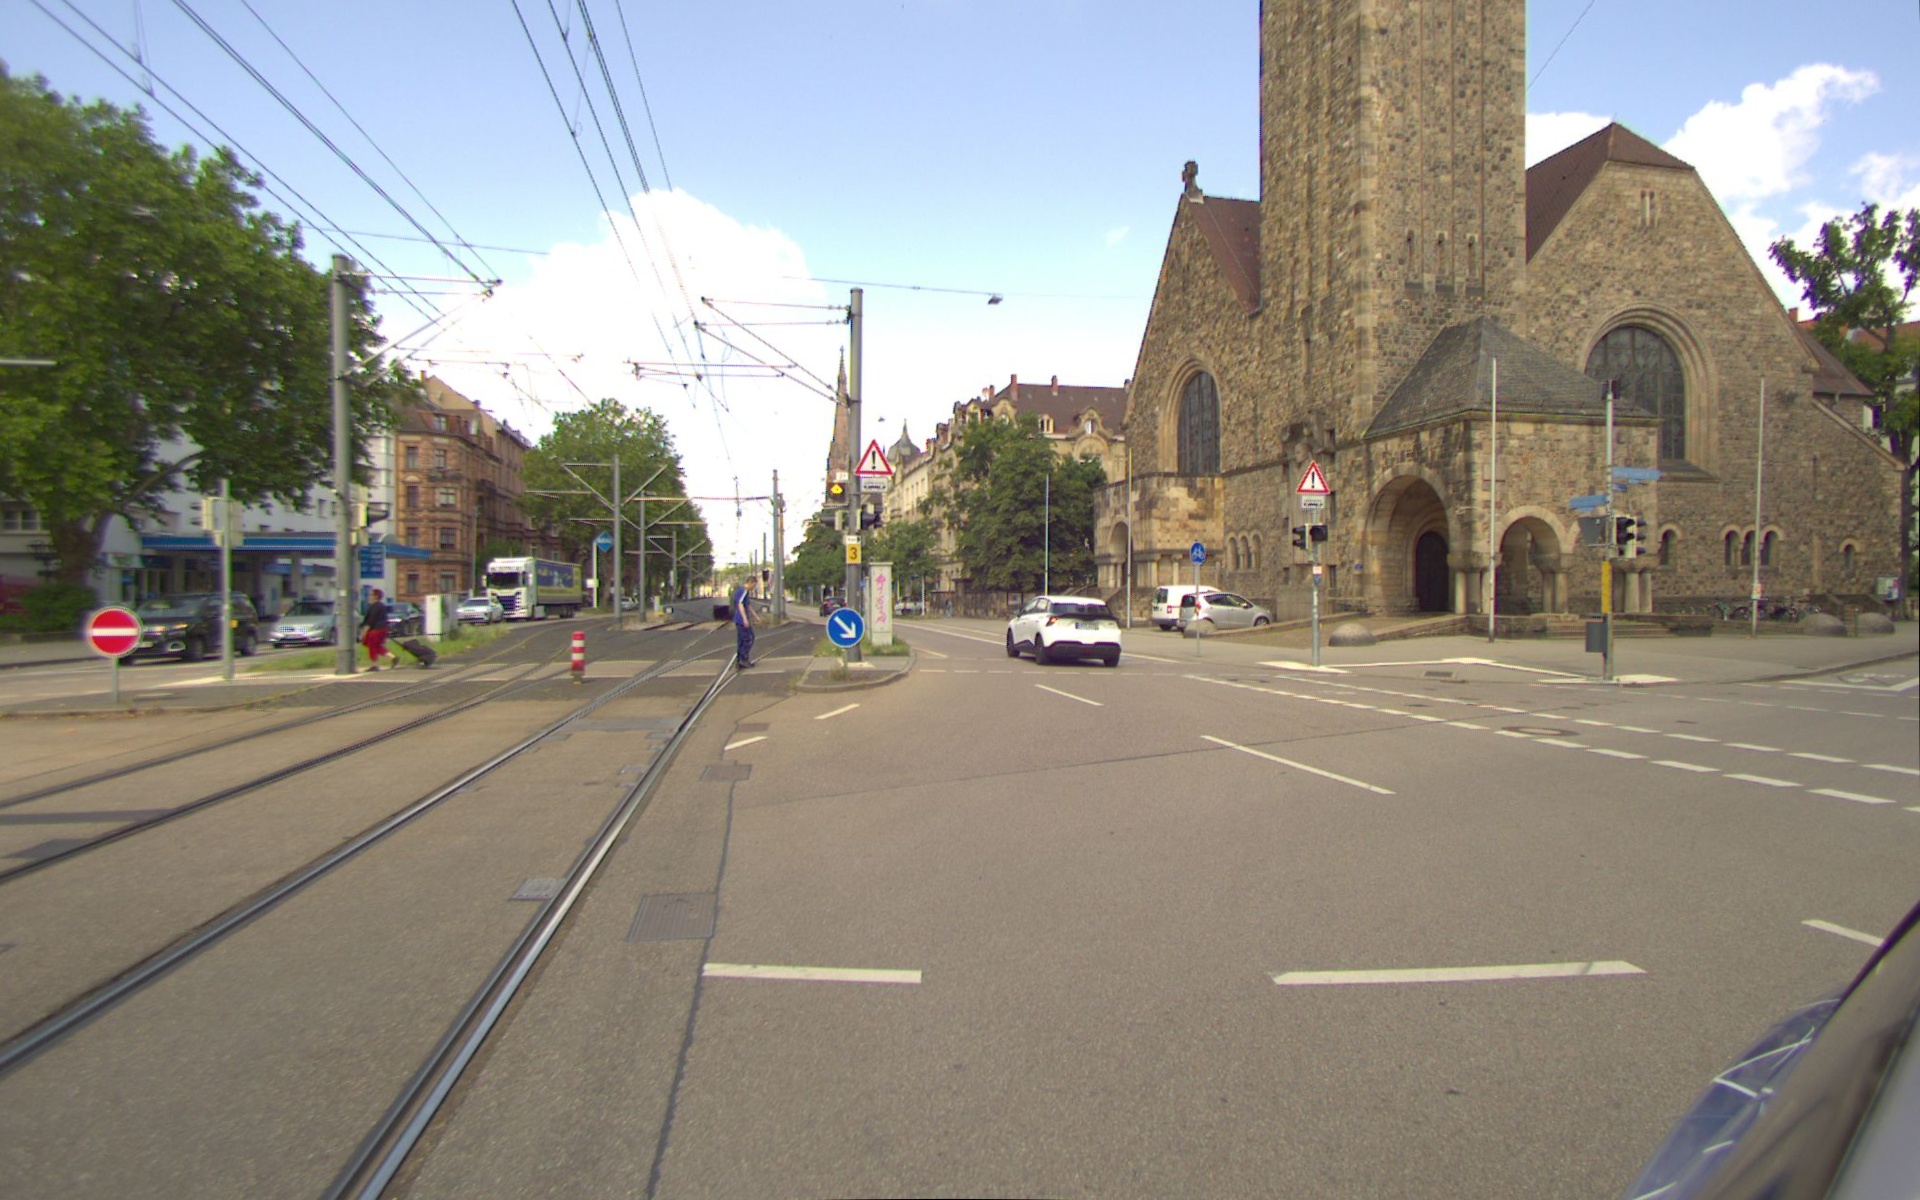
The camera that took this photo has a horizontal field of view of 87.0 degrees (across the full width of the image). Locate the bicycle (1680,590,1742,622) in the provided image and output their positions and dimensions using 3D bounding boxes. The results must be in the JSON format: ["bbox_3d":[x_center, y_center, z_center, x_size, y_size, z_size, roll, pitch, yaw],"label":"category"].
[{"bbox_3d":[29.169,0.217,39.342,0.574,1.125,1.945,-1,3,-16],"label":"bicycle"}]

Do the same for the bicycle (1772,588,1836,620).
[{"bbox_3d":[33.768,0.142,40.501,0.574,1.125,1.945,-1,3,-16],"label":"bicycle"}]

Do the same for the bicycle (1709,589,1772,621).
[{"bbox_3d":[30.651,0.192,39.776,0.574,1.125,1.945,-1,3,-16],"label":"bicycle"}]

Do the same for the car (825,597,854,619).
[{"bbox_3d":[-8.966,0.585,75.173,1.748,1.554,4.394,0,0,-11],"label":"car"}]

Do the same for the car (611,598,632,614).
[{"bbox_3d":[-38.170,0.681,114.171,1.766,1.651,4.008,-1,1,-12],"label":"car"}]

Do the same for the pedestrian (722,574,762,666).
[{"bbox_3d":[-4.284,0.379,19.851,0.756,1.753,0.745,0,0,-13],"label":"pedestrian"}]

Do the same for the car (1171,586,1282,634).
[{"bbox_3d":[9.956,0.392,37.892,3.561,1.700,1.822,1,-2,-15],"label":"car"}]

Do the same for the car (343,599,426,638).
[{"bbox_3d":[-23.601,0.718,41.667,1.816,1.464,3.981,0,1,-11],"label":"car"}]

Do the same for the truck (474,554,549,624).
[{"bbox_3d":[-28.725,-0.731,65.159,2.857,4.201,6.602,-1,1,-10],"label":"truck"}]

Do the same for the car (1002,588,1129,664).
[{"bbox_3d":[2.289,0.540,23.111,1.783,1.525,4.137,2,0,-10],"label":"car"}]

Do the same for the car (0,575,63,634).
[{"bbox_3d":[-41.011,0.179,43.374,2.069,2.450,4.008,-1,1,-11],"label":"car"}]

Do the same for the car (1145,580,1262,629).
[{"bbox_3d":[9.918,0.209,41.353,4.215,1.878,2.003,1,-1,-13],"label":"car"}]

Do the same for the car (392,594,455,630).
[{"bbox_3d":[-25.179,0.538,47.595,1.651,1.583,3.760,0,0,-12],"label":"car"}]

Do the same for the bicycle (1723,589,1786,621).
[{"bbox_3d":[31.331,0.181,39.949,0.574,1.125,1.945,-1,3,-16],"label":"bicycle"}]

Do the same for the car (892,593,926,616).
[{"bbox_3d":[-3.617,0.328,70.696,1.752,1.514,3.844,-1,0,-12],"label":"car"}]

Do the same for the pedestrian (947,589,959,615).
[{"bbox_3d":[-0.476,0.148,66.973,0.645,1.686,0.847,0,0,-10],"label":"pedestrian"}]

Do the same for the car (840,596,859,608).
[{"bbox_3d":[-11.617,0.224,106.386,1.621,1.249,3.069,-1,0,-12],"label":"car"}]

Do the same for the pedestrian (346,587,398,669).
[{"bbox_3d":[-11.066,0.523,19.054,0.760,1.511,0.659,1,-1,-25],"label":"pedestrian"}]

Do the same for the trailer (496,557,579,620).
[{"bbox_3d":[-29.968,-0.845,72.364,2.857,4.128,11.671,-1,1,-10],"label":"trailer"}]

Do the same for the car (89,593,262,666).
[{"bbox_3d":[-20.421,0.687,26.590,1.816,1.748,4.427,0,0,-11],"label":"car"}]

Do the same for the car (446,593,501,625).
[{"bbox_3d":[-27.463,0.499,57.261,1.816,1.727,4.142,0,0,-11],"label":"car"}]

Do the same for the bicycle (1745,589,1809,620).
[{"bbox_3d":[32.311,0.167,40.052,0.574,1.125,1.945,-1,3,-16],"label":"bicycle"}]

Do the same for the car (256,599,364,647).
[{"bbox_3d":[-22.060,0.737,34.531,1.698,1.484,4.335,0,0,-12],"label":"car"}]

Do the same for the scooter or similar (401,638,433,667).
[{"bbox_3d":[-10.440,1.013,19.465,0.510,0.542,0.311,1,-1,-25],"label":"scooter or similar"}]

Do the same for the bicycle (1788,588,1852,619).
[{"bbox_3d":[34.539,0.129,40.666,0.574,1.125,1.945,-1,3,-16],"label":"bicycle"}]
